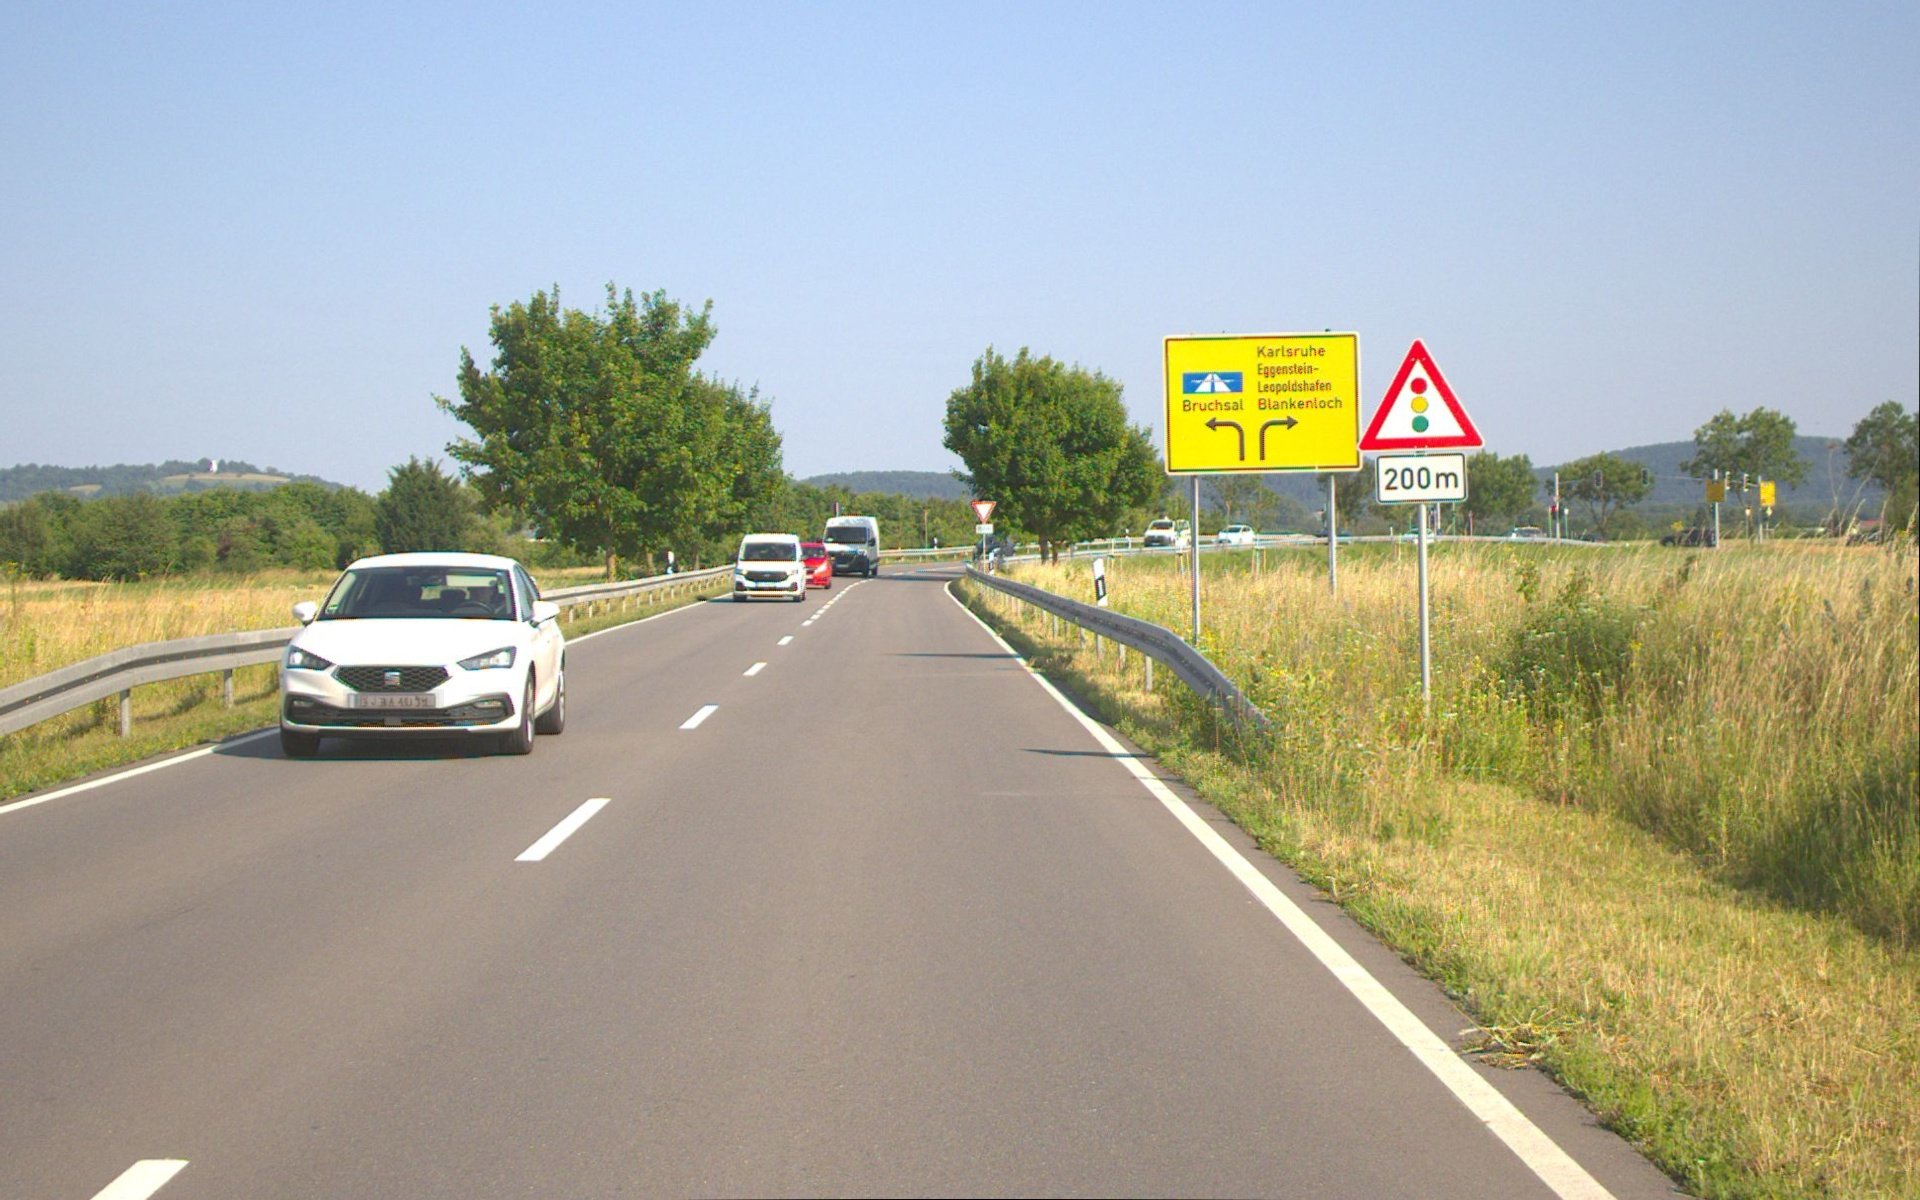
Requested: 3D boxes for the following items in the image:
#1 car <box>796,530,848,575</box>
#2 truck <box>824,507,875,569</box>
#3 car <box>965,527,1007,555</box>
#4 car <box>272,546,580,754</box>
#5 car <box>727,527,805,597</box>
[{"bbox_3d":[-4.582,-1.600,114.427,1.606,1.483,3.780,0,1,-1],"label":"car"},{"bbox_3d":[-4.623,-2.601,144.468,1.993,2.511,6.244,0,1,-1],"label":"truck"},{"bbox_3d":[1.411,-3.179,185.700,1.645,1.466,3.805,0,1,11],"label":"car"},{"bbox_3d":[-3.967,0.316,26.184,1.726,1.432,4.517,0,1,-1],"label":"car"},{"bbox_3d":[-5.127,-1.036,91.281,1.836,1.780,4.435,-1,1,0],"label":"car"}]
